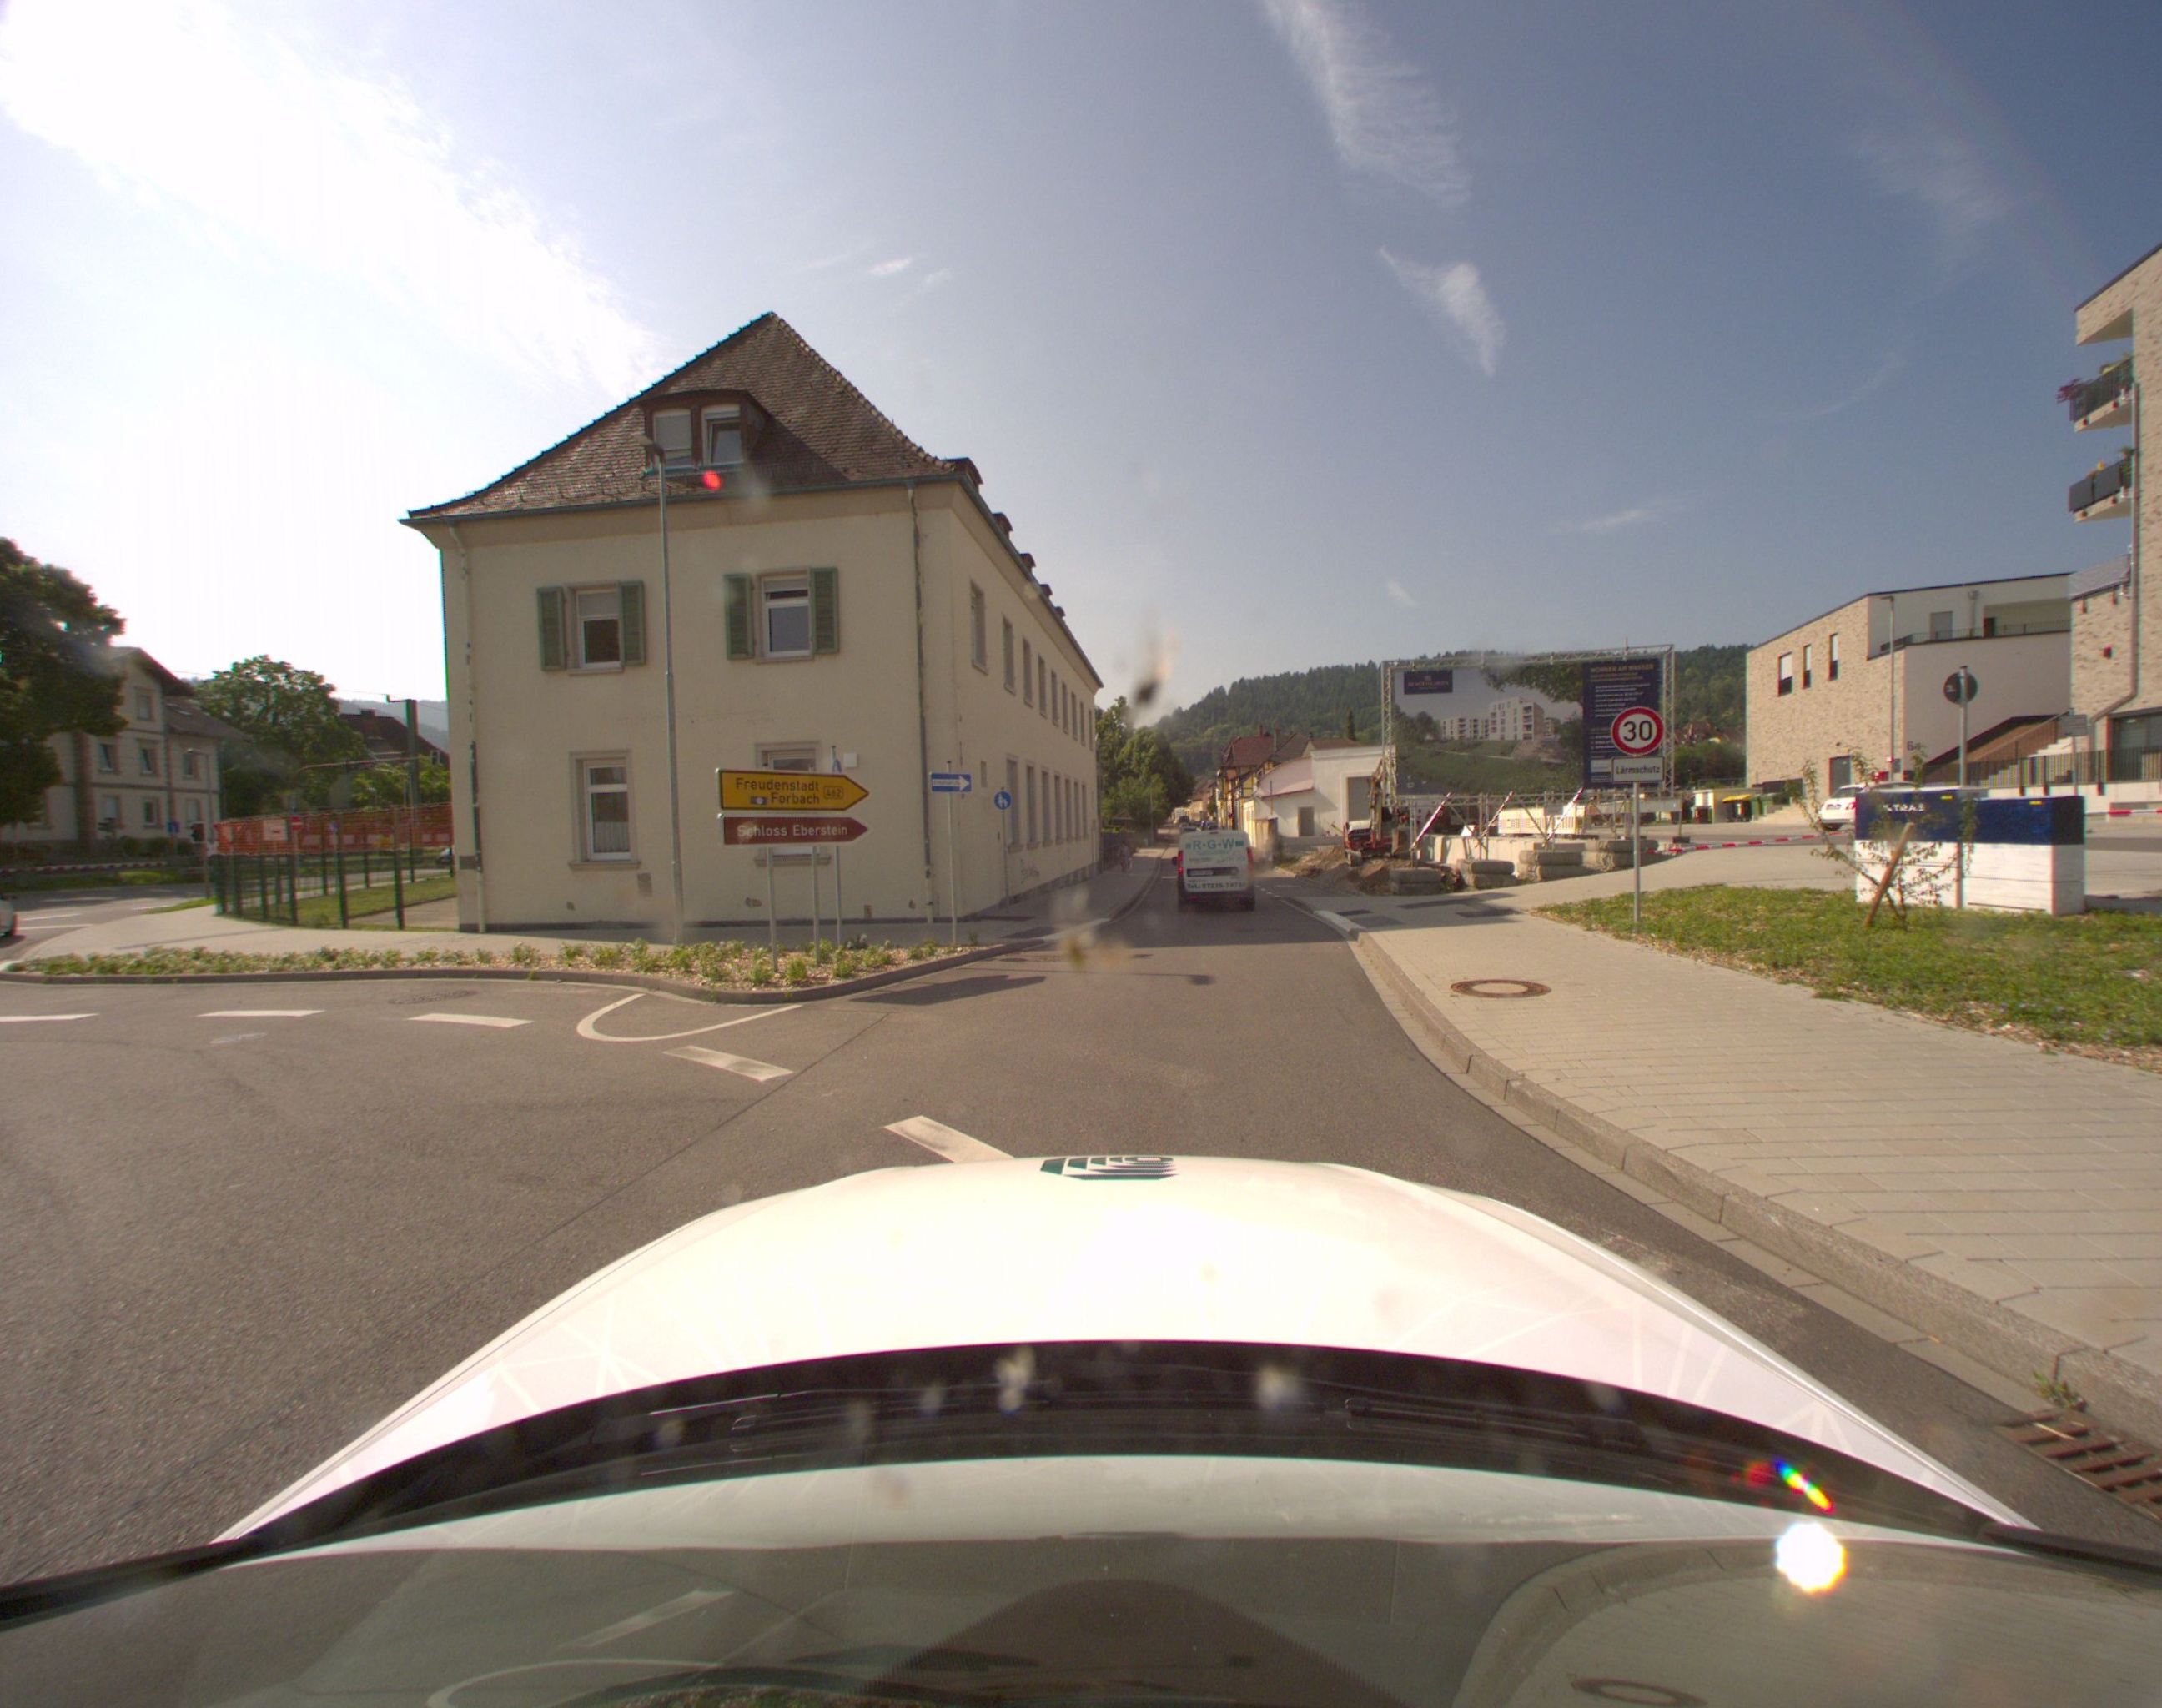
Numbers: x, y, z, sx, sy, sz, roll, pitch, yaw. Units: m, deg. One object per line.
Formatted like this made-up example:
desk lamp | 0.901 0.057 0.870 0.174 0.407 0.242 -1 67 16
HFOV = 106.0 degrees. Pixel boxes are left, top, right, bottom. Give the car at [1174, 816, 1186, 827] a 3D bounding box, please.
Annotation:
car | 26.645 -8.751 219.924 2.861 2.835 6.135 -2 2 5

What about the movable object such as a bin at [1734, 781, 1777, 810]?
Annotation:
movable object such as a bin | 35.713 -3.088 43.159 1.289 1.463 1.326 1 3 17

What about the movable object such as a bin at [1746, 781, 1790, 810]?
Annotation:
movable object such as a bin | 35.266 -3.016 41.837 1.289 1.463 1.326 1 3 17

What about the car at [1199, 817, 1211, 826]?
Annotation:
car | 21.213 -5.532 139.246 1.661 1.507 4.007 -2 2 5

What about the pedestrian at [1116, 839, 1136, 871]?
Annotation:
pedestrian | 2.324 0.051 42.069 0.953 1.631 0.760 -1 1 7

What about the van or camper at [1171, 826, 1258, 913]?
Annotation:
van or camper | 3.196 0.330 20.099 1.818 1.844 4.196 -2 0 7

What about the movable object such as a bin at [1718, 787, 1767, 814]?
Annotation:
movable object such as a bin | 36.261 -2.931 44.692 1.680 1.463 1.326 1 3 17

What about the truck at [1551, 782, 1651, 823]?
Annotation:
truck | 33.744 -3.296 52.966 5.263 2.265 2.233 -2 1 33

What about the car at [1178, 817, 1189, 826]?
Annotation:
car | 18.162 -5.823 144.211 1.801 1.596 3.936 1 3 7

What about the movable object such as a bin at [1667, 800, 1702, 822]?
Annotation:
movable object such as a bin | 36.015 -2.590 48.635 1.286 1.267 1.326 1 3 17

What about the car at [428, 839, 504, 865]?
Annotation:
car | -38.042 -0.145 50.512 1.704 1.397 4.000 0 3 -1

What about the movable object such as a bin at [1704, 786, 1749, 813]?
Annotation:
movable object such as a bin | 36.444 -3.068 46.016 1.567 1.463 1.326 1 3 17

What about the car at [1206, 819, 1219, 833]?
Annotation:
car | 19.849 -4.190 123.004 1.861 2.013 4.009 -1 2 7

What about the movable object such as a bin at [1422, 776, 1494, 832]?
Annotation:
movable object such as a bin | 25.887 -3.407 55.877 2.823 3.620 5.772 3 4 42

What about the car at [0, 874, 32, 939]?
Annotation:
car | -28.975 1.380 21.200 3.950 1.397 1.725 3 4 42

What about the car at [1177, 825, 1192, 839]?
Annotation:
car | 13.279 -2.868 104.917 1.802 1.596 3.934 1 3 6

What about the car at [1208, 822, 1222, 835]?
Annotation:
car | 18.507 -3.553 112.932 1.801 1.596 3.936 1 3 7

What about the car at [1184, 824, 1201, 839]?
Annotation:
car | 12.172 -2.485 89.175 1.801 1.596 3.936 1 3 7

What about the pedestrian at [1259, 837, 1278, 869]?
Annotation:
pedestrian | 9.886 -0.063 43.014 0.883 1.683 0.720 0 1 7

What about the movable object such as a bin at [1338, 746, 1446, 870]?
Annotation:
movable object such as a bin | 10.889 -1.566 29.224 2.280 3.853 7.824 1 2 11

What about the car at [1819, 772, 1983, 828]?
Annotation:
car | 25.840 -1.679 25.754 3.387 1.495 1.597 -2 0 6

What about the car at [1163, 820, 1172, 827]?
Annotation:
car | 24.688 -8.687 233.307 1.768 1.798 3.995 -2 2 -4

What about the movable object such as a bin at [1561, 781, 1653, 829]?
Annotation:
movable object such as a bin | 32.170 -2.970 49.886 4.567 2.569 1.938 -2 1 33
